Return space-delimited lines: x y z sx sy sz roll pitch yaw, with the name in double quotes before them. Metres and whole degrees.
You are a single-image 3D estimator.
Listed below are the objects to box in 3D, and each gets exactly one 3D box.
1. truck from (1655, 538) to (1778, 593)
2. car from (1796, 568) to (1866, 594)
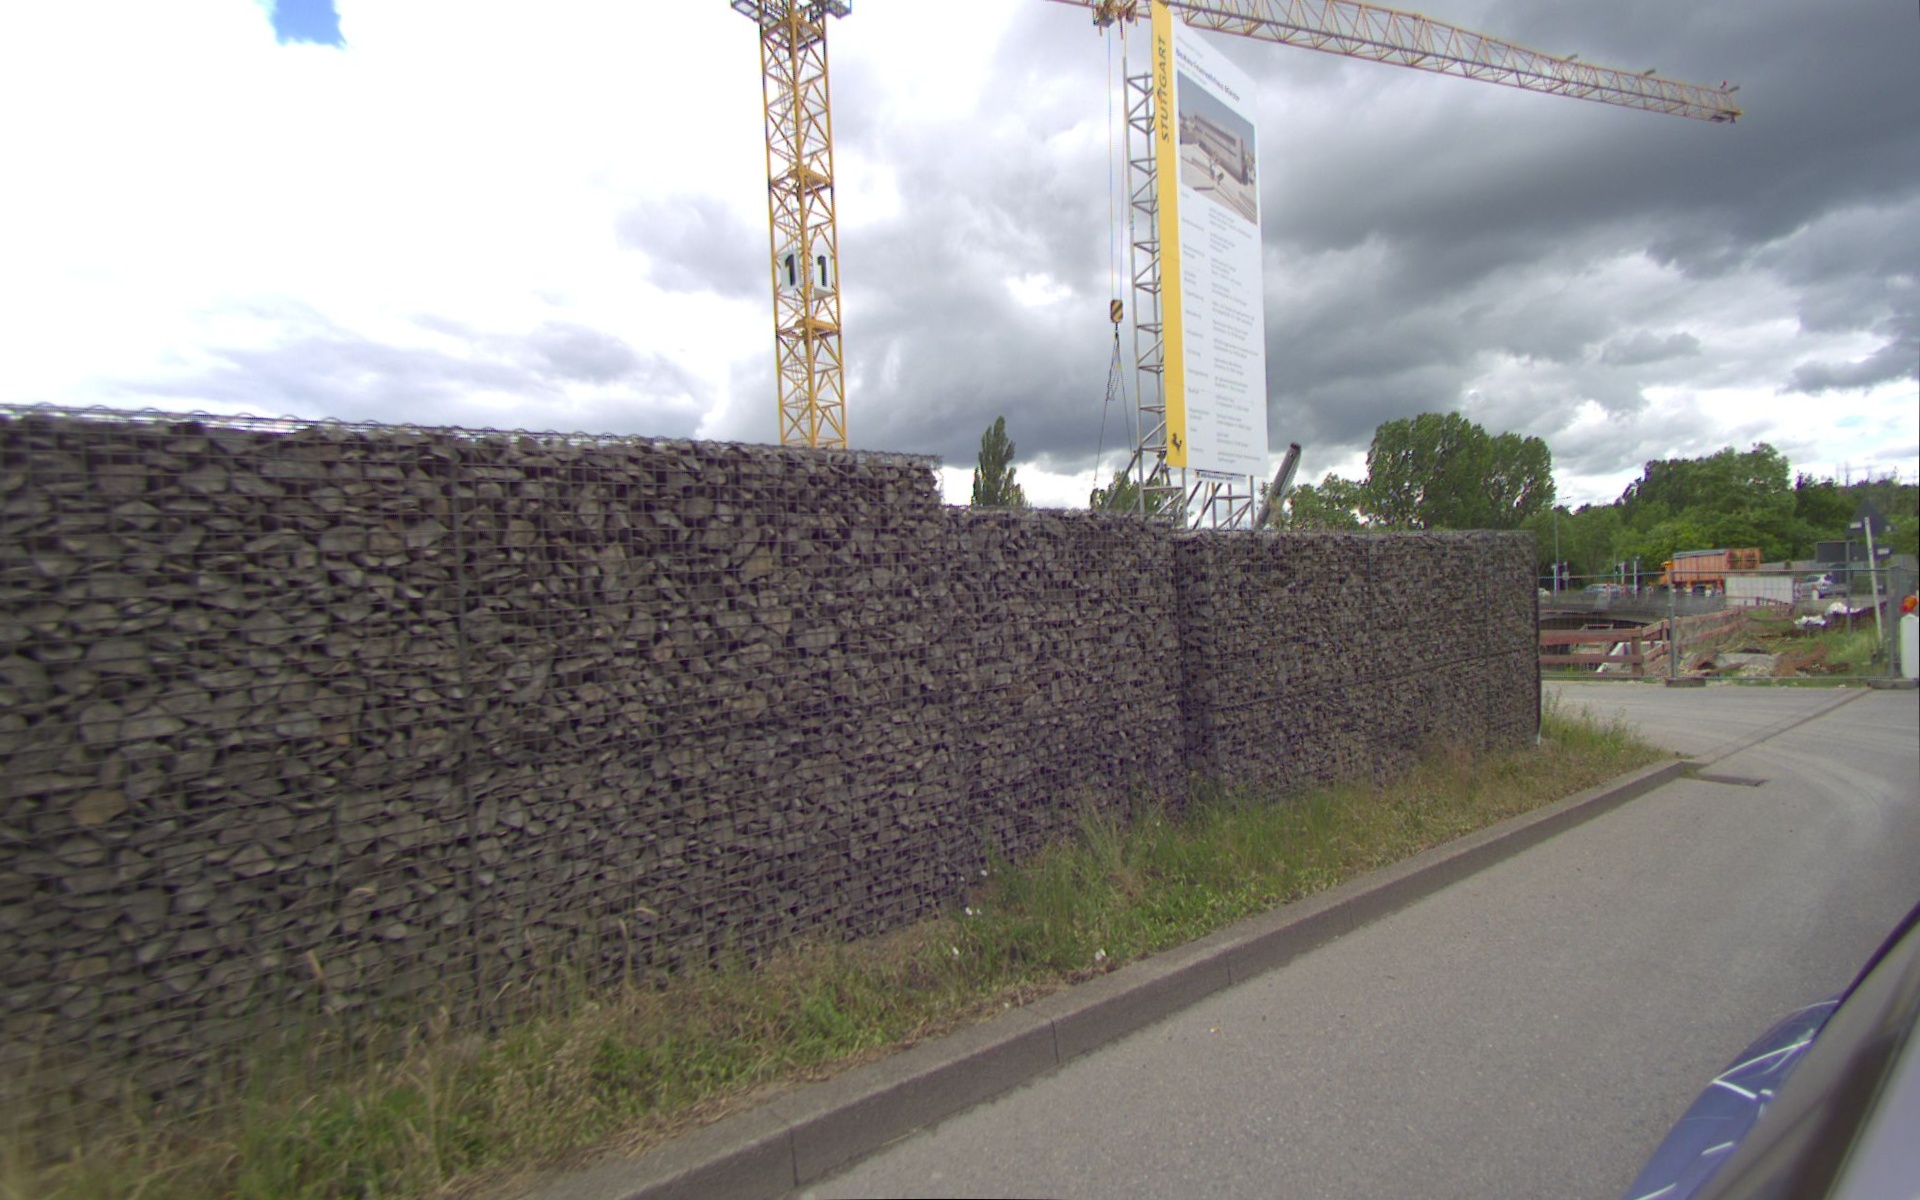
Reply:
"truck" 60.874 -2.626 81.862 2.988 3.947 9.986 -3 0 6
"car" 58.630 -1.230 68.220 1.867 1.583 4.082 -3 0 15
